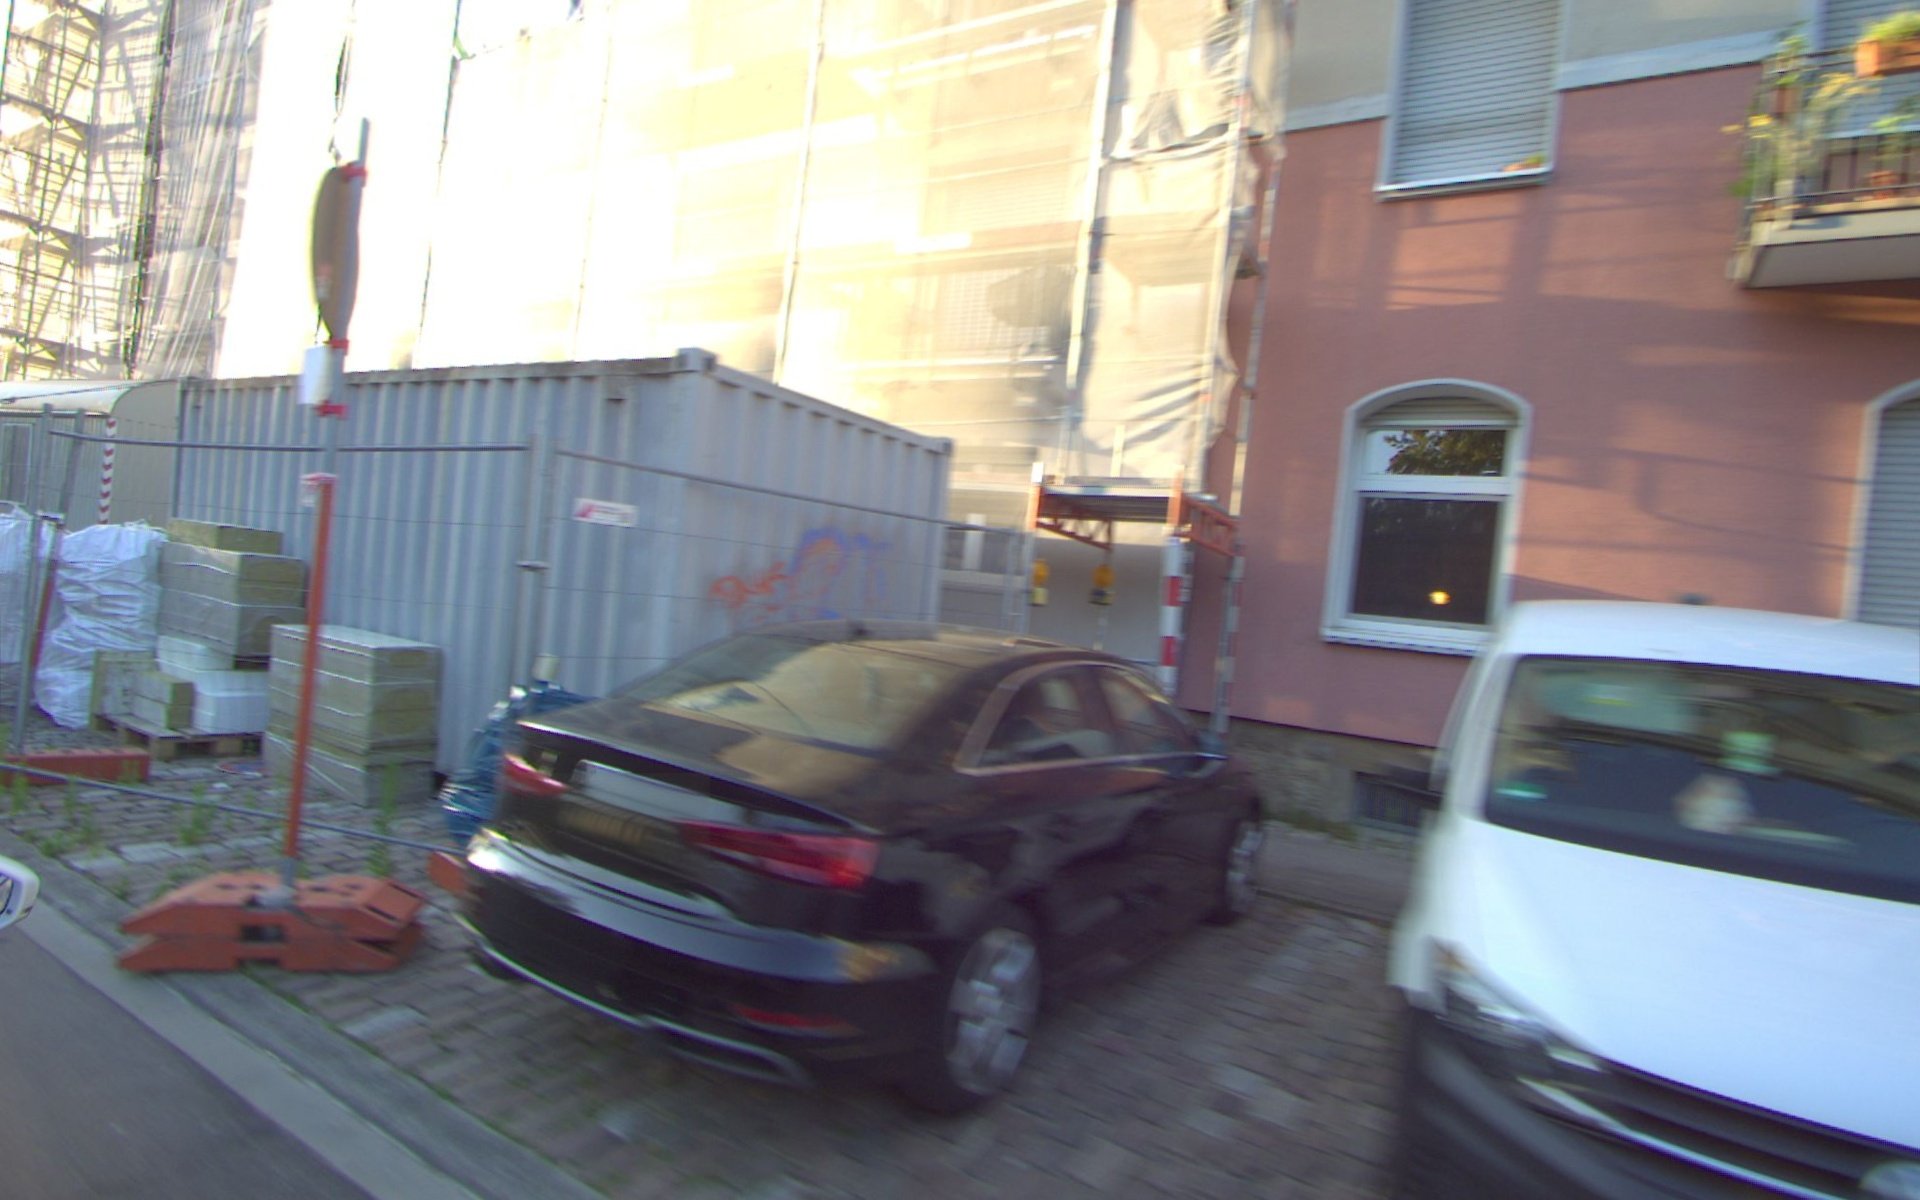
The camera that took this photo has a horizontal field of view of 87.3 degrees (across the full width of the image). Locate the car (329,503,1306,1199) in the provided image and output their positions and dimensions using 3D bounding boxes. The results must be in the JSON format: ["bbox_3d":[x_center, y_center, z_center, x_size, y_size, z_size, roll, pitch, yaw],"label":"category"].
[{"bbox_3d":[-0.012,0.773,4.393,1.841,1.634,4.159,6,-2,32],"label":"car"}]

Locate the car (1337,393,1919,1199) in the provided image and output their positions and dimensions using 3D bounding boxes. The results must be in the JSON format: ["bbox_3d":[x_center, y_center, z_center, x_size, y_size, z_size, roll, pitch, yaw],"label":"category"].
[{"bbox_3d":[2.538,0.780,3.449,1.790,2.006,4.272,7,1,27],"label":"car"}]
